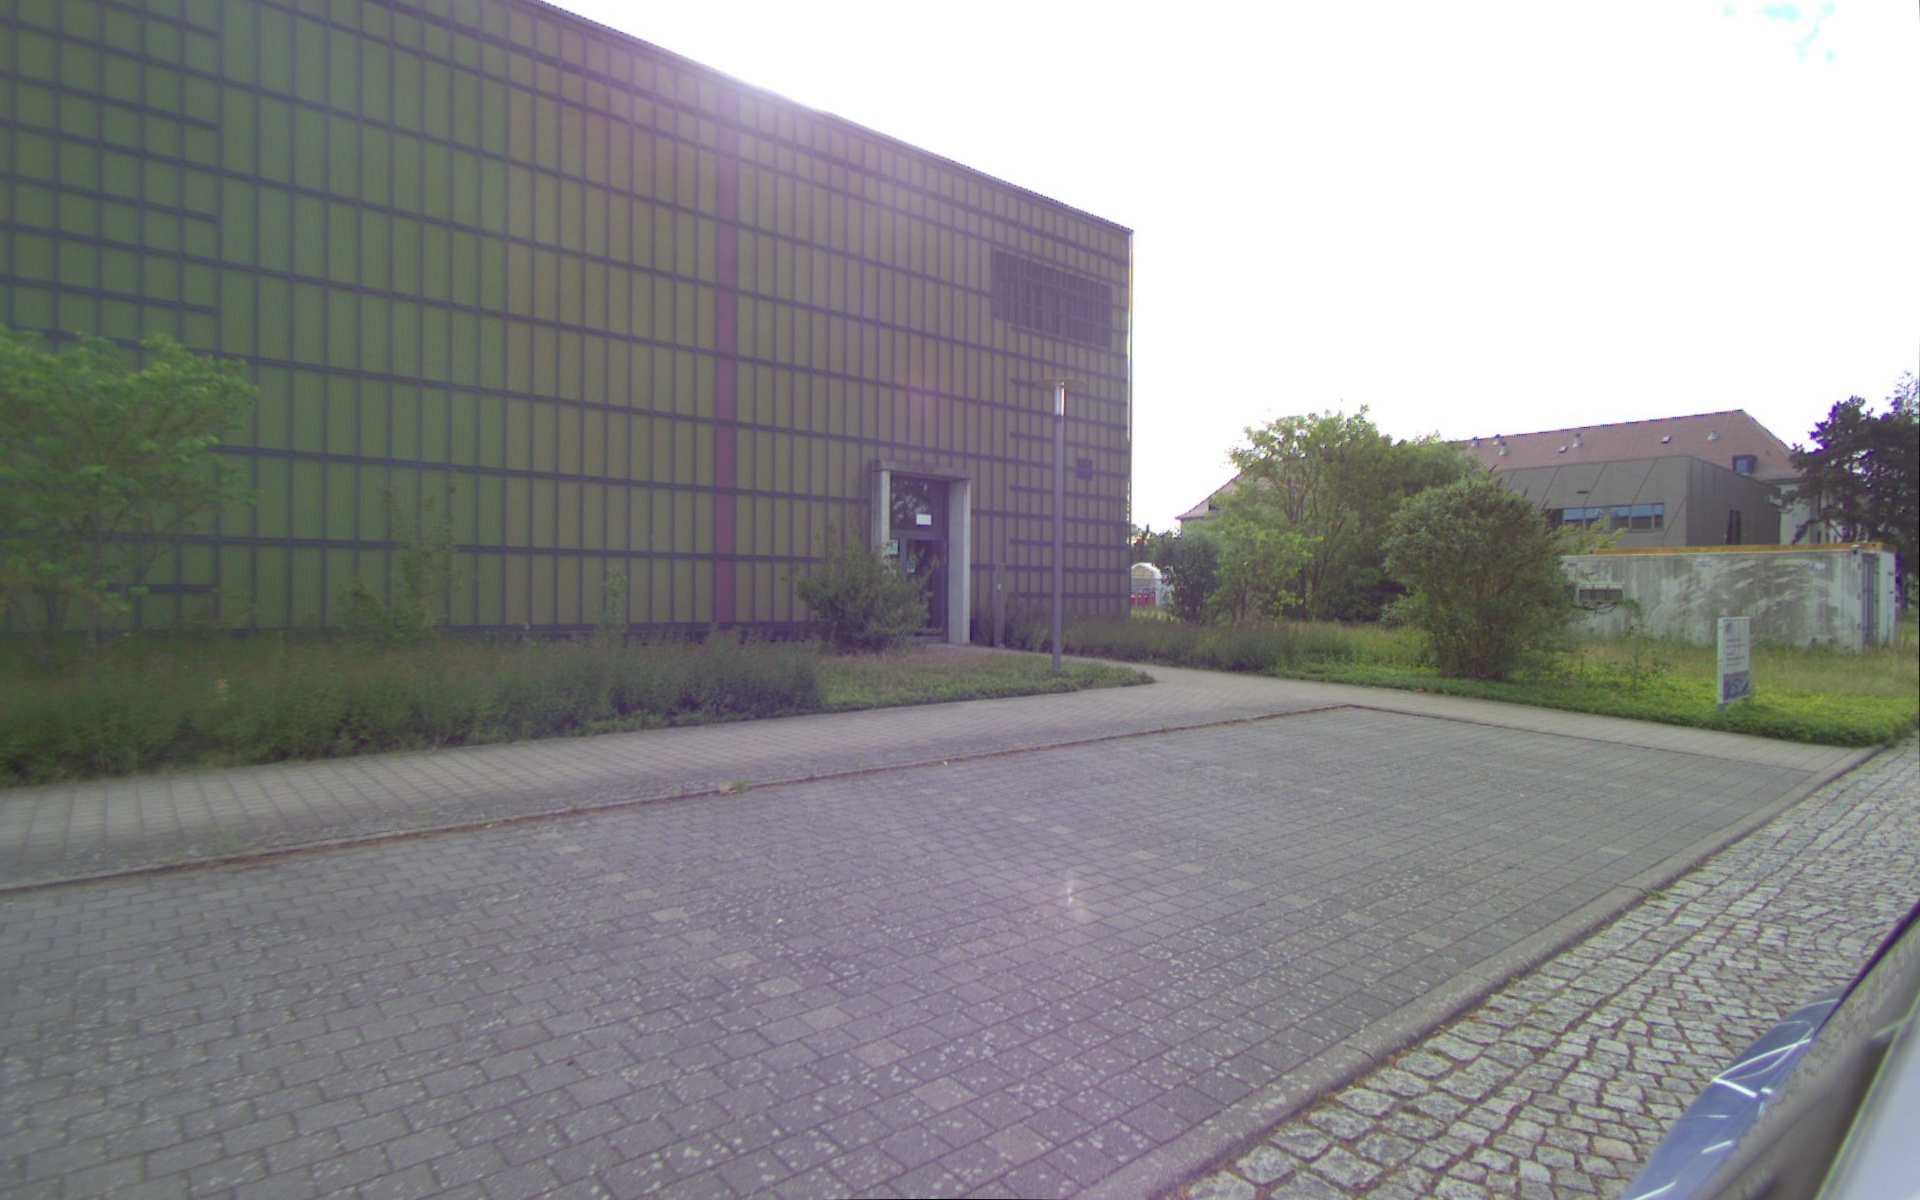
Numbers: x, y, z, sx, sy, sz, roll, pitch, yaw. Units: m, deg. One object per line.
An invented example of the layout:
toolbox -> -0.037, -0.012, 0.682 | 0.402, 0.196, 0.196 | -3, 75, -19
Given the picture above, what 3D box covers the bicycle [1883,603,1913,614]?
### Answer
bicycle -> 94.171, 0.845, 101.640 | 0.705, 1.109, 2.160 | 0, 0, -43
